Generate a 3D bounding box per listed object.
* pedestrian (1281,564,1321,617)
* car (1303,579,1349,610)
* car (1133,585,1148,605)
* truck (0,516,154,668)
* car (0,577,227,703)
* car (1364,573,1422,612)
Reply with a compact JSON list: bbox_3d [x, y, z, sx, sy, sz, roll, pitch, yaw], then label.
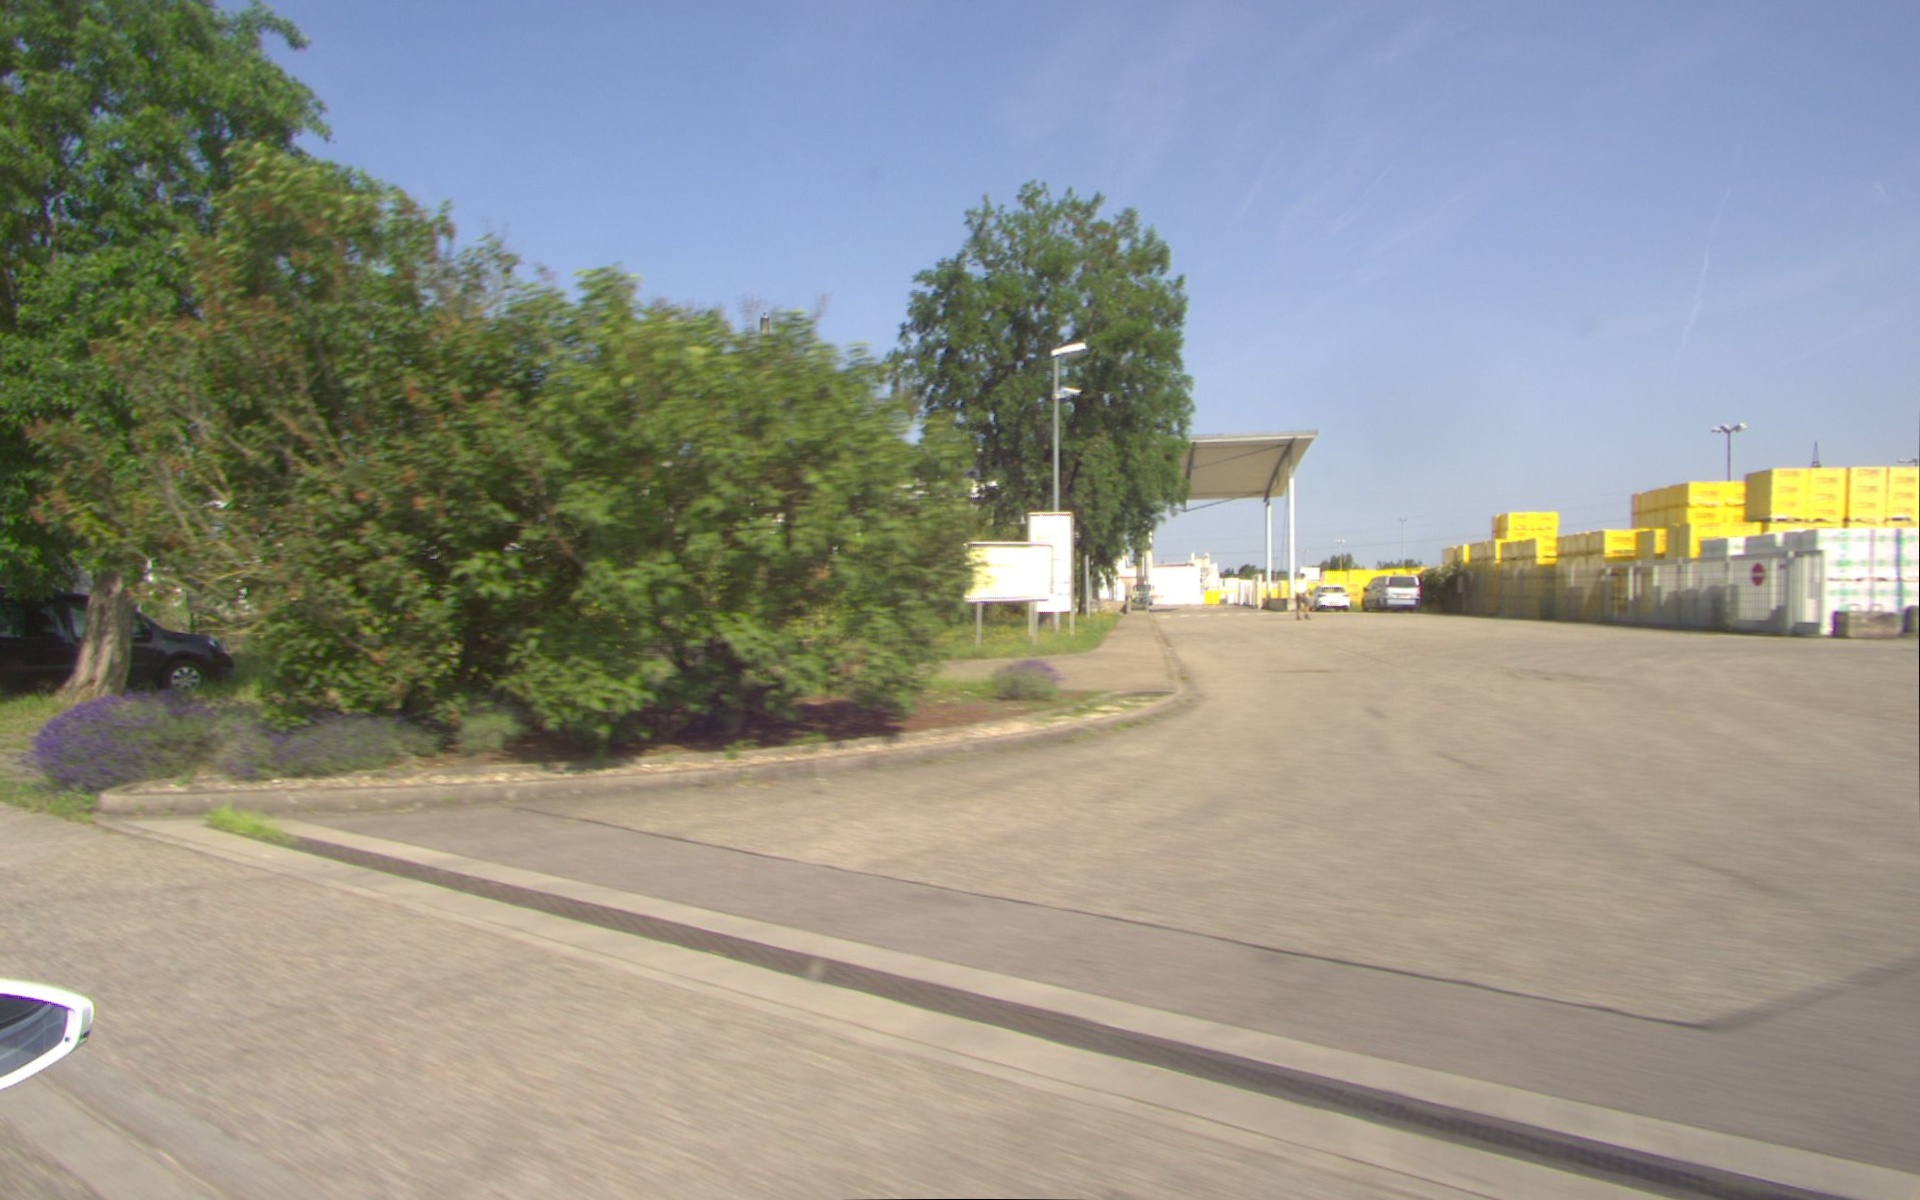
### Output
[{"bbox_3d":[13.461,-0.365,39.570,0.971,2.039,1.152,0,-2,-38],"label":"pedestrian"},{"bbox_3d":[19.806,-0.271,54.307,1.695,1.527,4.000,-1,-2,11],"label":"car"},{"bbox_3d":[25.894,-0.729,143.511,1.962,2.721,5.690,-1,0,9],"label":"car"},{"bbox_3d":[-23.318,-0.117,22.043,2.702,3.415,8.191,-1,1,31],"label":"truck"},{"bbox_3d":[-14.599,0.590,16.199,1.972,1.862,3.976,-1,1,33],"label":"car"},{"bbox_3d":[22.720,-0.356,52.633,1.962,1.839,3.999,-1,-2,11],"label":"car"}]
